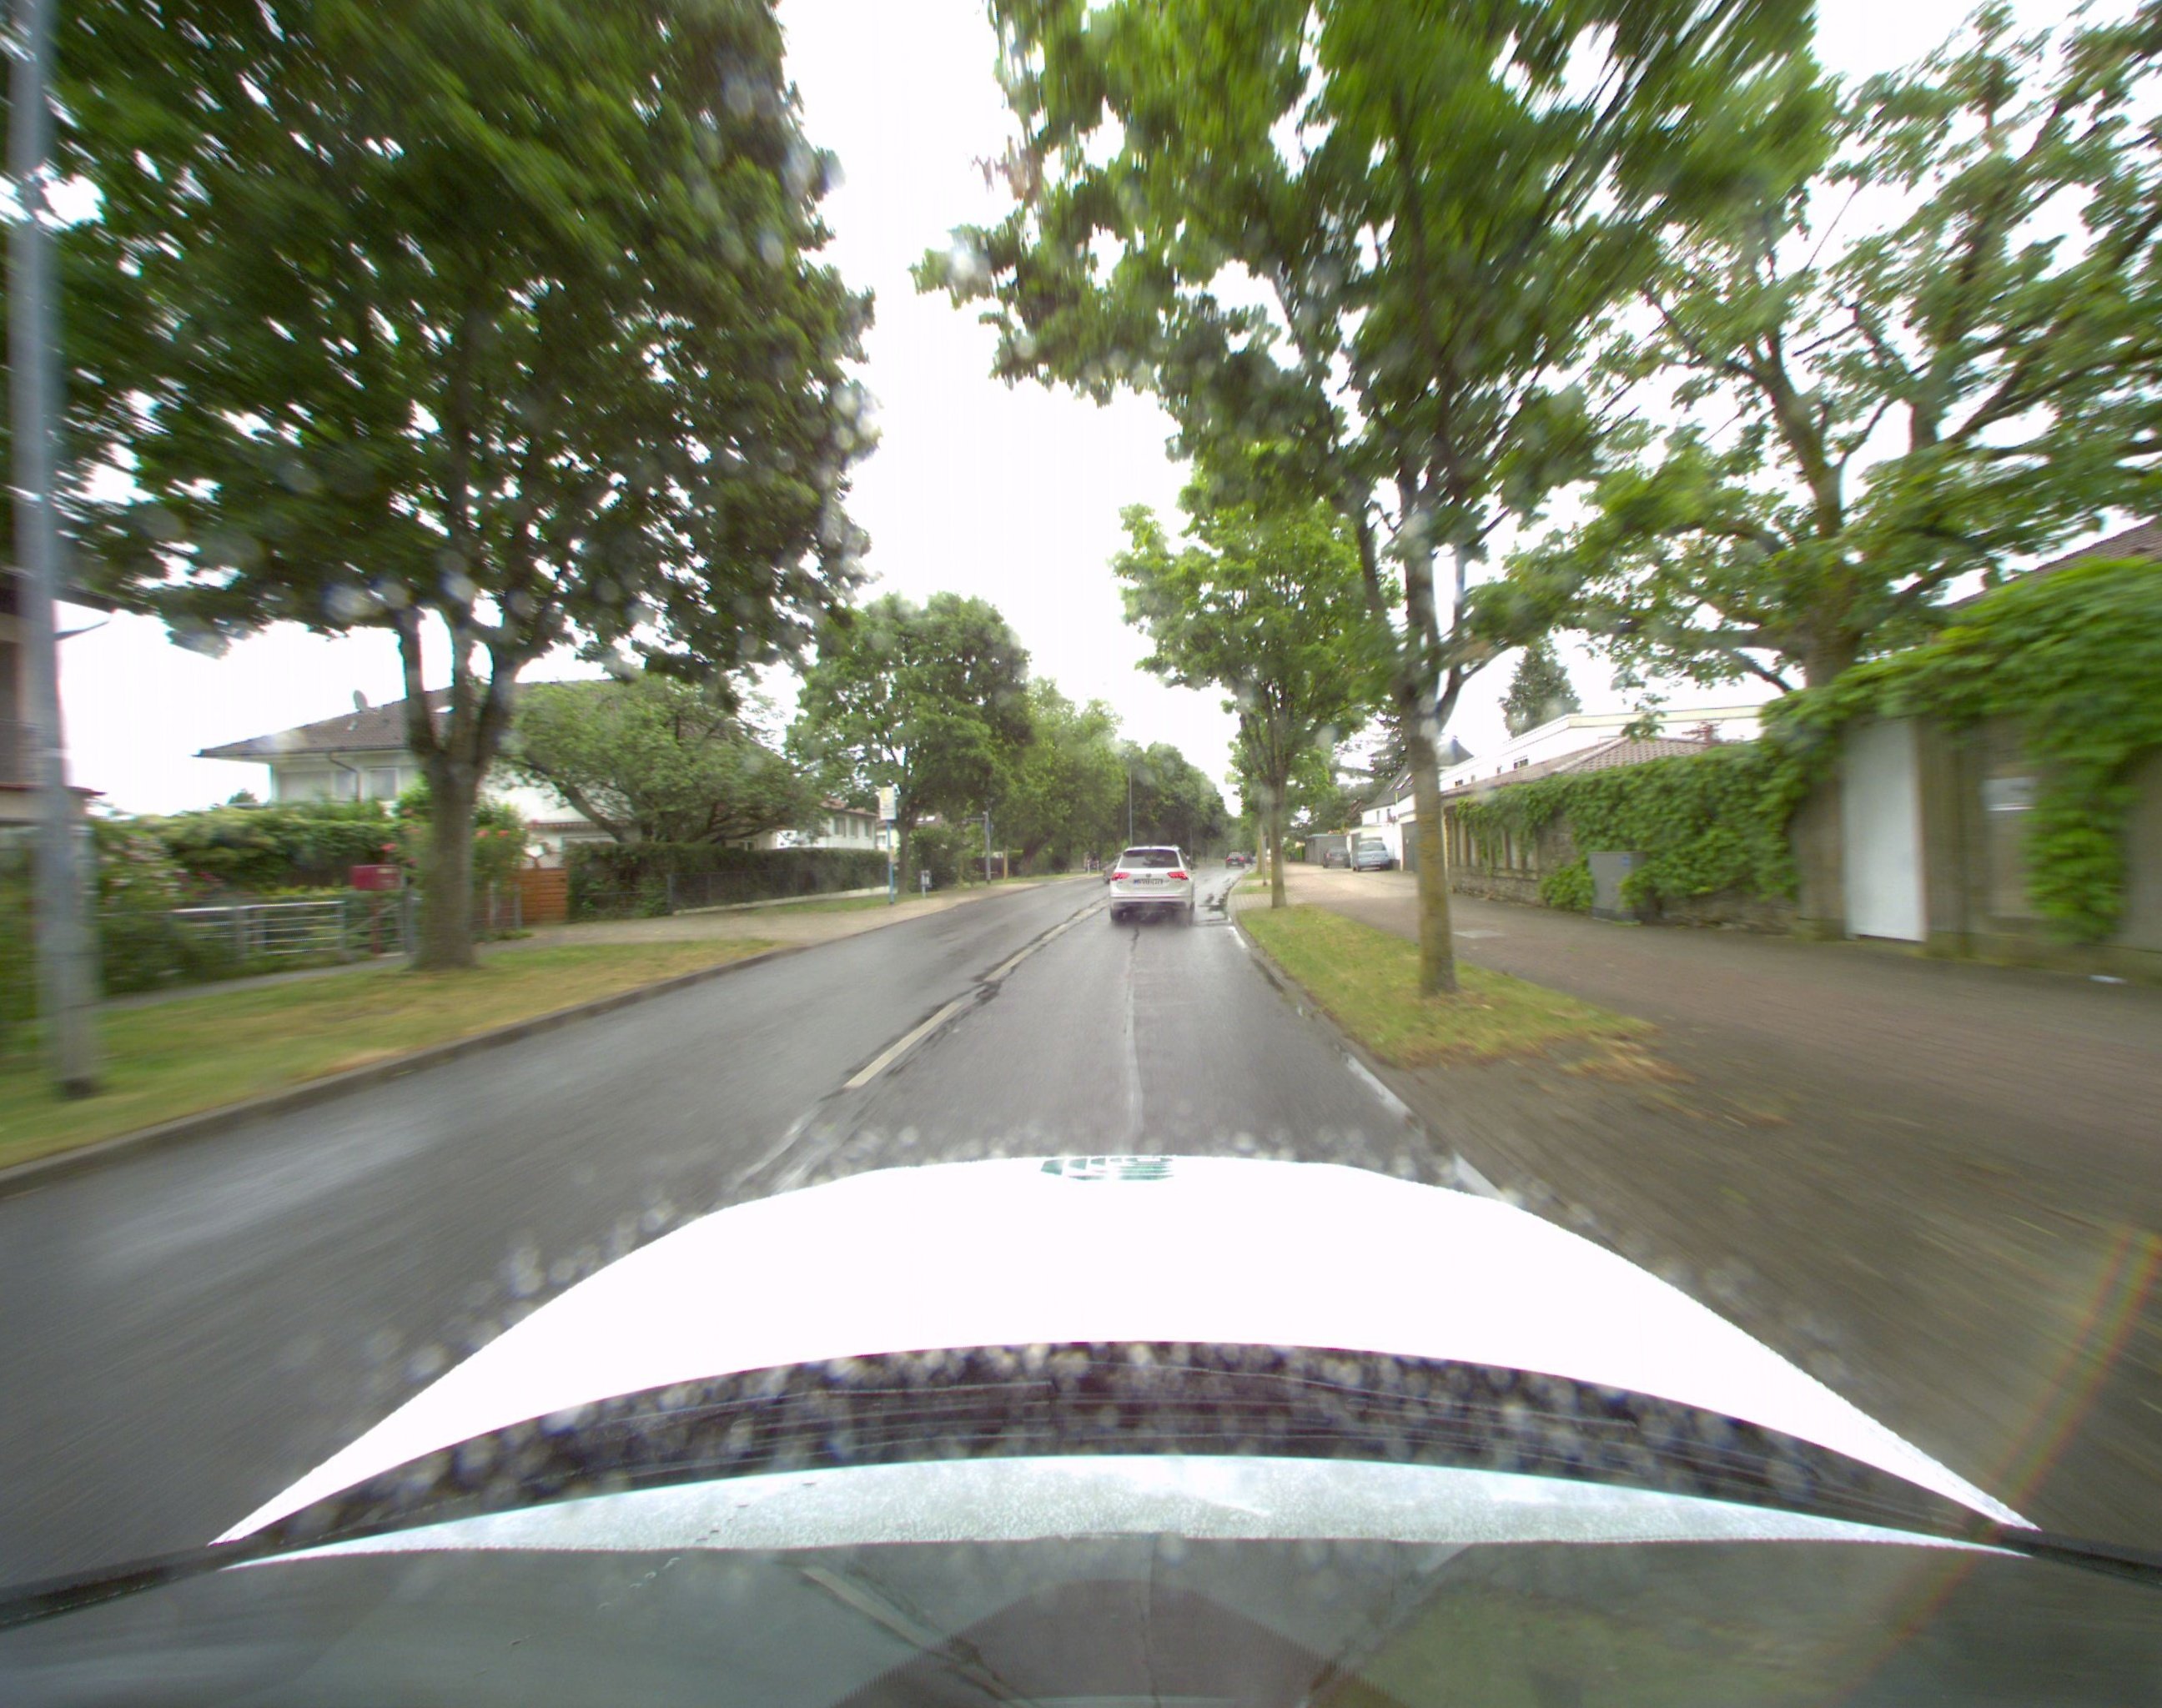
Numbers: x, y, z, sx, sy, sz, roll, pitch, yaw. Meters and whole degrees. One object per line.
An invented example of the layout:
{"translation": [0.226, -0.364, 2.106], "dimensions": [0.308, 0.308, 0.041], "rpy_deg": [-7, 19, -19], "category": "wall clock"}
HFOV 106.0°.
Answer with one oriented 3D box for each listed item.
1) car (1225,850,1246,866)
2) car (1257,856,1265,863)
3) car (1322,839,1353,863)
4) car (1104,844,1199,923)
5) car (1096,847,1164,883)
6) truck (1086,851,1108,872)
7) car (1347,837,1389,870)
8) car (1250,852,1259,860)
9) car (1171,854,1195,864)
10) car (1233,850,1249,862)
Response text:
{"translation": [14.650, 0.374, 77.136], "dimensions": [1.828, 1.487, 4.014], "rpy_deg": [1, 0, 13], "category": "car"}
{"translation": [39.533, 1.221, 178.662], "dimensions": [1.627, 1.326, 4.012], "rpy_deg": [0, 0, 11], "category": "car"}
{"translation": [17.761, -0.197, 56.537], "dimensions": [1.758, 1.498, 4.561], "rpy_deg": [-3, 0, 14], "category": "car"}
{"translation": [1.736, 0.605, 19.034], "dimensions": [1.986, 1.632, 4.009], "rpy_deg": [0, 0, 8], "category": "car"}
{"translation": [2.267, 0.543, 38.556], "dimensions": [1.845, 1.487, 3.976], "rpy_deg": [-3, -1, -17], "category": "car"}
{"translation": [2.109, 0.946, 107.462], "dimensions": [2.273, 2.597, 5.885], "rpy_deg": [-2, -1, 7], "category": "truck"}
{"translation": [15.477, -0.025, 44.077], "dimensions": [1.731, 1.611, 4.015], "rpy_deg": [-3, 0, 14], "category": "car"}
{"translation": [32.902, 0.380, 154.667], "dimensions": [1.627, 1.326, 4.012], "rpy_deg": [0, 0, 11], "category": "car"}
{"translation": [15.770, 0.746, 126.064], "dimensions": [1.848, 1.482, 3.971], "rpy_deg": [-2, -1, -21], "category": "car"}
{"translation": [21.817, 0.335, 111.036], "dimensions": [1.831, 1.487, 4.008], "rpy_deg": [-3, -1, 7], "category": "car"}
